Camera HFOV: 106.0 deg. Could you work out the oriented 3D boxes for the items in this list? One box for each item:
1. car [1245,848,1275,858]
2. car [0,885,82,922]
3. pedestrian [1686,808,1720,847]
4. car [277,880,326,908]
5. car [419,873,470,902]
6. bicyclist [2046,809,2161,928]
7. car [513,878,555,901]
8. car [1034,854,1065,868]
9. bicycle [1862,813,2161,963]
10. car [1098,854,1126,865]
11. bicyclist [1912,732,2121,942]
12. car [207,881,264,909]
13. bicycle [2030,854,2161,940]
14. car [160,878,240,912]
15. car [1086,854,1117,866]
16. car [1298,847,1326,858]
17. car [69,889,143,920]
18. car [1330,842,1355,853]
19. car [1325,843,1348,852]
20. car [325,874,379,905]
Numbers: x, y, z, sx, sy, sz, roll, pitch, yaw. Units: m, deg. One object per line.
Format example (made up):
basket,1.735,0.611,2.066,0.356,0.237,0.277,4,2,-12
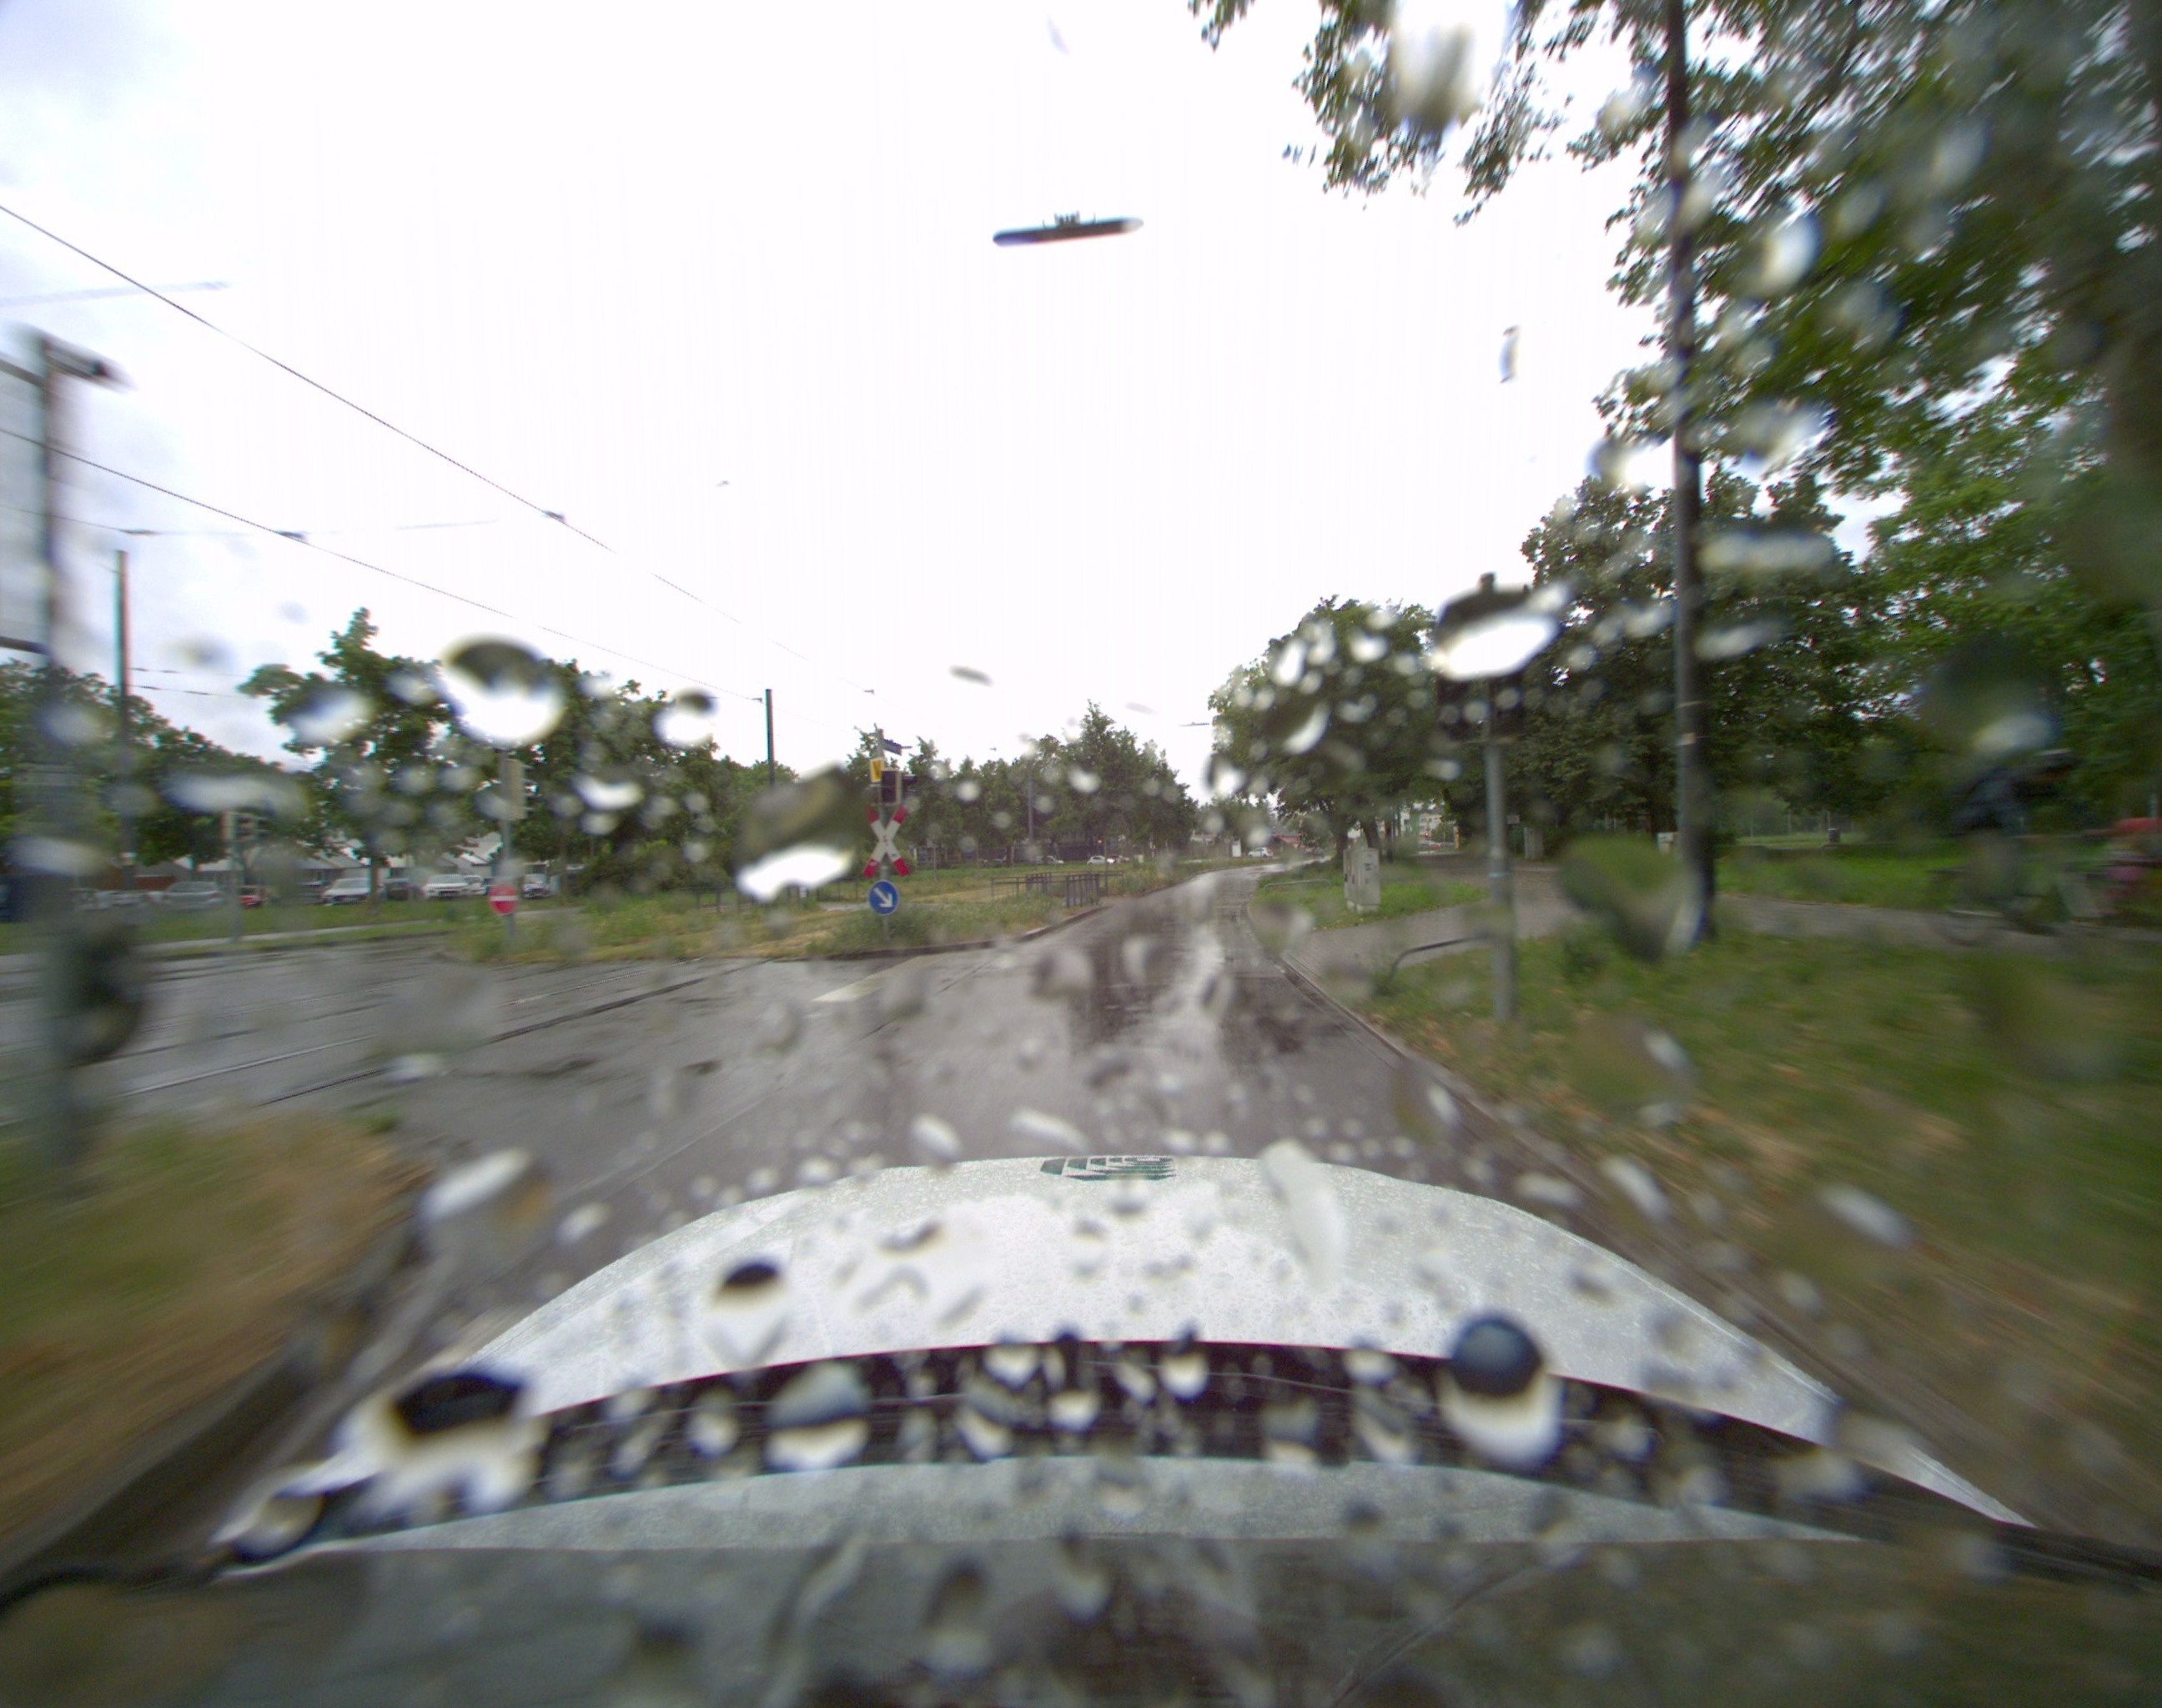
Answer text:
car,26.420,-0.149,120.318,3.948,1.420,1.548,-2,0,39
car,-39.390,1.843,30.520,1.674,1.249,3.699,-2,0,-38
pedestrian,28.473,-1.192,37.318,1.022,1.694,0.859,-3,0,26
car,-41.373,2.092,43.295,1.674,1.325,3.697,-2,0,-41
car,-30.042,1.573,38.415,1.674,1.249,3.697,-2,0,-41
bicyclist,9.492,0.131,7.491,0.484,1.038,0.592,-2,-1,5
car,-33.760,2.191,50.200,1.674,1.249,3.697,-2,0,-41
car,-4.617,1.066,120.172,4.177,1.796,1.659,-2,1,16
bicycle,8.305,0.253,7.315,0.708,1.142,1.973,-3,0,3
car,4.620,0.848,120.787,3.788,1.499,1.659,-3,-1,17
bicyclist,8.286,-0.148,7.270,0.708,1.721,0.958,-3,0,2
car,-43.447,2.089,41.911,1.674,1.325,3.697,-2,0,-41
bicycle,9.484,0.368,7.230,0.484,0.708,1.460,-2,-1,5
car,-36.565,1.698,33.895,1.674,1.249,3.699,-2,0,-38
car,2.954,0.828,117.433,4.033,1.499,1.659,-3,-1,17
car,31.351,-0.210,110.565,1.690,1.420,3.788,-3,0,-21
car,-46.959,2.396,39.301,1.674,1.325,3.697,-2,0,-41
car,49.028,-1.302,152.678,4.094,1.860,1.684,-3,-1,35
car,47.059,-1.128,149.833,3.714,1.442,1.774,-3,-1,31
car,-32.235,1.563,36.071,1.674,1.249,3.697,-2,0,-41
